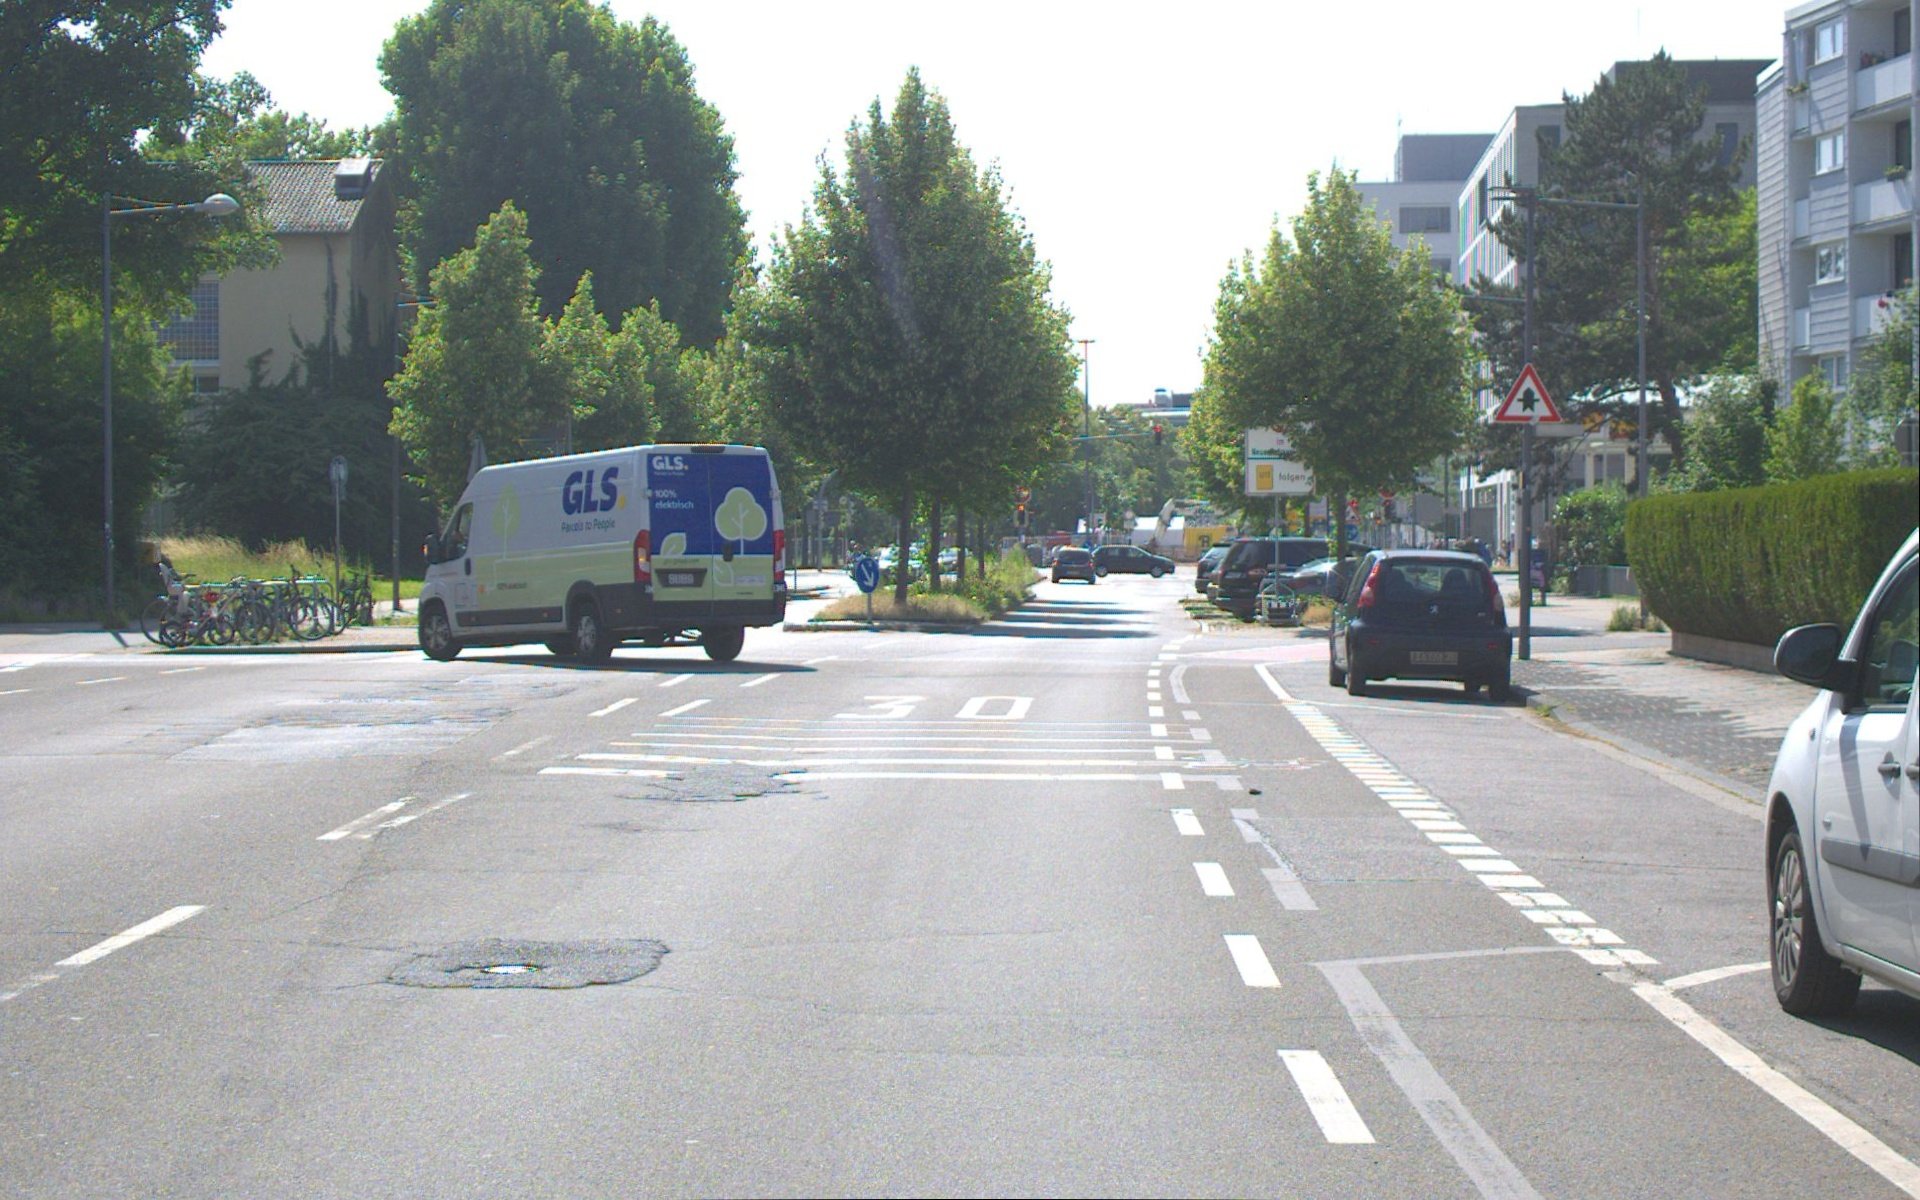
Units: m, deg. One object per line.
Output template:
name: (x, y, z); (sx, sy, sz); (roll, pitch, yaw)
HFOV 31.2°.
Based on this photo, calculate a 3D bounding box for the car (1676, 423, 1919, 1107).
car: (3.454, 0.454, 9.938); (1.762, 1.820, 4.598); (2, 1, 0)

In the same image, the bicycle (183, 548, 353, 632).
bicycle: (-10.978, -0.164, 54.588); (2.515, 1.252, 0.739); (-1, 2, 1)

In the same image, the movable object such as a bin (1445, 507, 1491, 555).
movable object such as a bin: (17.527, -2.379, 118.633); (1.307, 1.586, 1.396); (-2, 1, 1)

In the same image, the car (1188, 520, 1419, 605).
car: (6.762, -0.752, 67.708); (4.106, 1.634, 2.045); (-1, 1, -30)

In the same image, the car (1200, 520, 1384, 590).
car: (7.805, -1.062, 81.002); (3.986, 1.634, 1.753); (0, 1, -9)

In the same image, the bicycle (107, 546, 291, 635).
bicycle: (-11.304, -0.141, 51.101); (2.544, 1.252, 0.739); (-1, 2, 1)

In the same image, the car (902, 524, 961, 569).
car: (-1.001, -1.907, 122.389); (1.741, 1.542, 4.072); (-1, 1, 4)

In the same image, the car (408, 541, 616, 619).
car: (-9.323, -0.436, 71.466); (3.986, 1.461, 2.001); (-2, 2, -18)

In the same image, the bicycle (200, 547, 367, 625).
bicycle: (-10.952, -0.231, 55.685); (2.544, 1.252, 0.739); (0, 1, 1)

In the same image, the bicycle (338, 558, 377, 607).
bicycle: (-11.198, -0.332, 63.873); (0.520, 0.900, 1.271); (-1, 1, -2)

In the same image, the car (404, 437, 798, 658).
car: (-4.553, -0.653, 42.561); (2.276, 2.515, 6.135); (-2, 1, -33)

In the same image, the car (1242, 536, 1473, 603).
car: (7.503, -0.592, 64.899); (3.986, 1.232, 1.753); (0, 1, -22)

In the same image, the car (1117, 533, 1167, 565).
car: (8.282, -2.325, 155.877); (1.827, 1.446, 3.999); (0, 1, 10)

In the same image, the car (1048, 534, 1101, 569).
car: (4.631, -1.984, 139.337); (1.993, 1.393, 4.000); (0, 1, 0)

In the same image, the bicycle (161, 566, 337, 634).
bicycle: (-10.981, -0.003, 53.169); (2.544, 0.984, 0.739); (-1, 2, 1)

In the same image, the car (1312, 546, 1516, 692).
car: (4.627, 0.155, 35.482); (1.617, 1.385, 4.000); (1, 1, 1)

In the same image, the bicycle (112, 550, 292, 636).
bicycle: (-11.499, -0.105, 52.190); (2.544, 1.235, 0.739); (-1, 2, 1)

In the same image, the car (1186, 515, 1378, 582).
car: (8.174, -1.322, 87.148); (4.730, 1.654, 1.753); (-1, 1, -30)
